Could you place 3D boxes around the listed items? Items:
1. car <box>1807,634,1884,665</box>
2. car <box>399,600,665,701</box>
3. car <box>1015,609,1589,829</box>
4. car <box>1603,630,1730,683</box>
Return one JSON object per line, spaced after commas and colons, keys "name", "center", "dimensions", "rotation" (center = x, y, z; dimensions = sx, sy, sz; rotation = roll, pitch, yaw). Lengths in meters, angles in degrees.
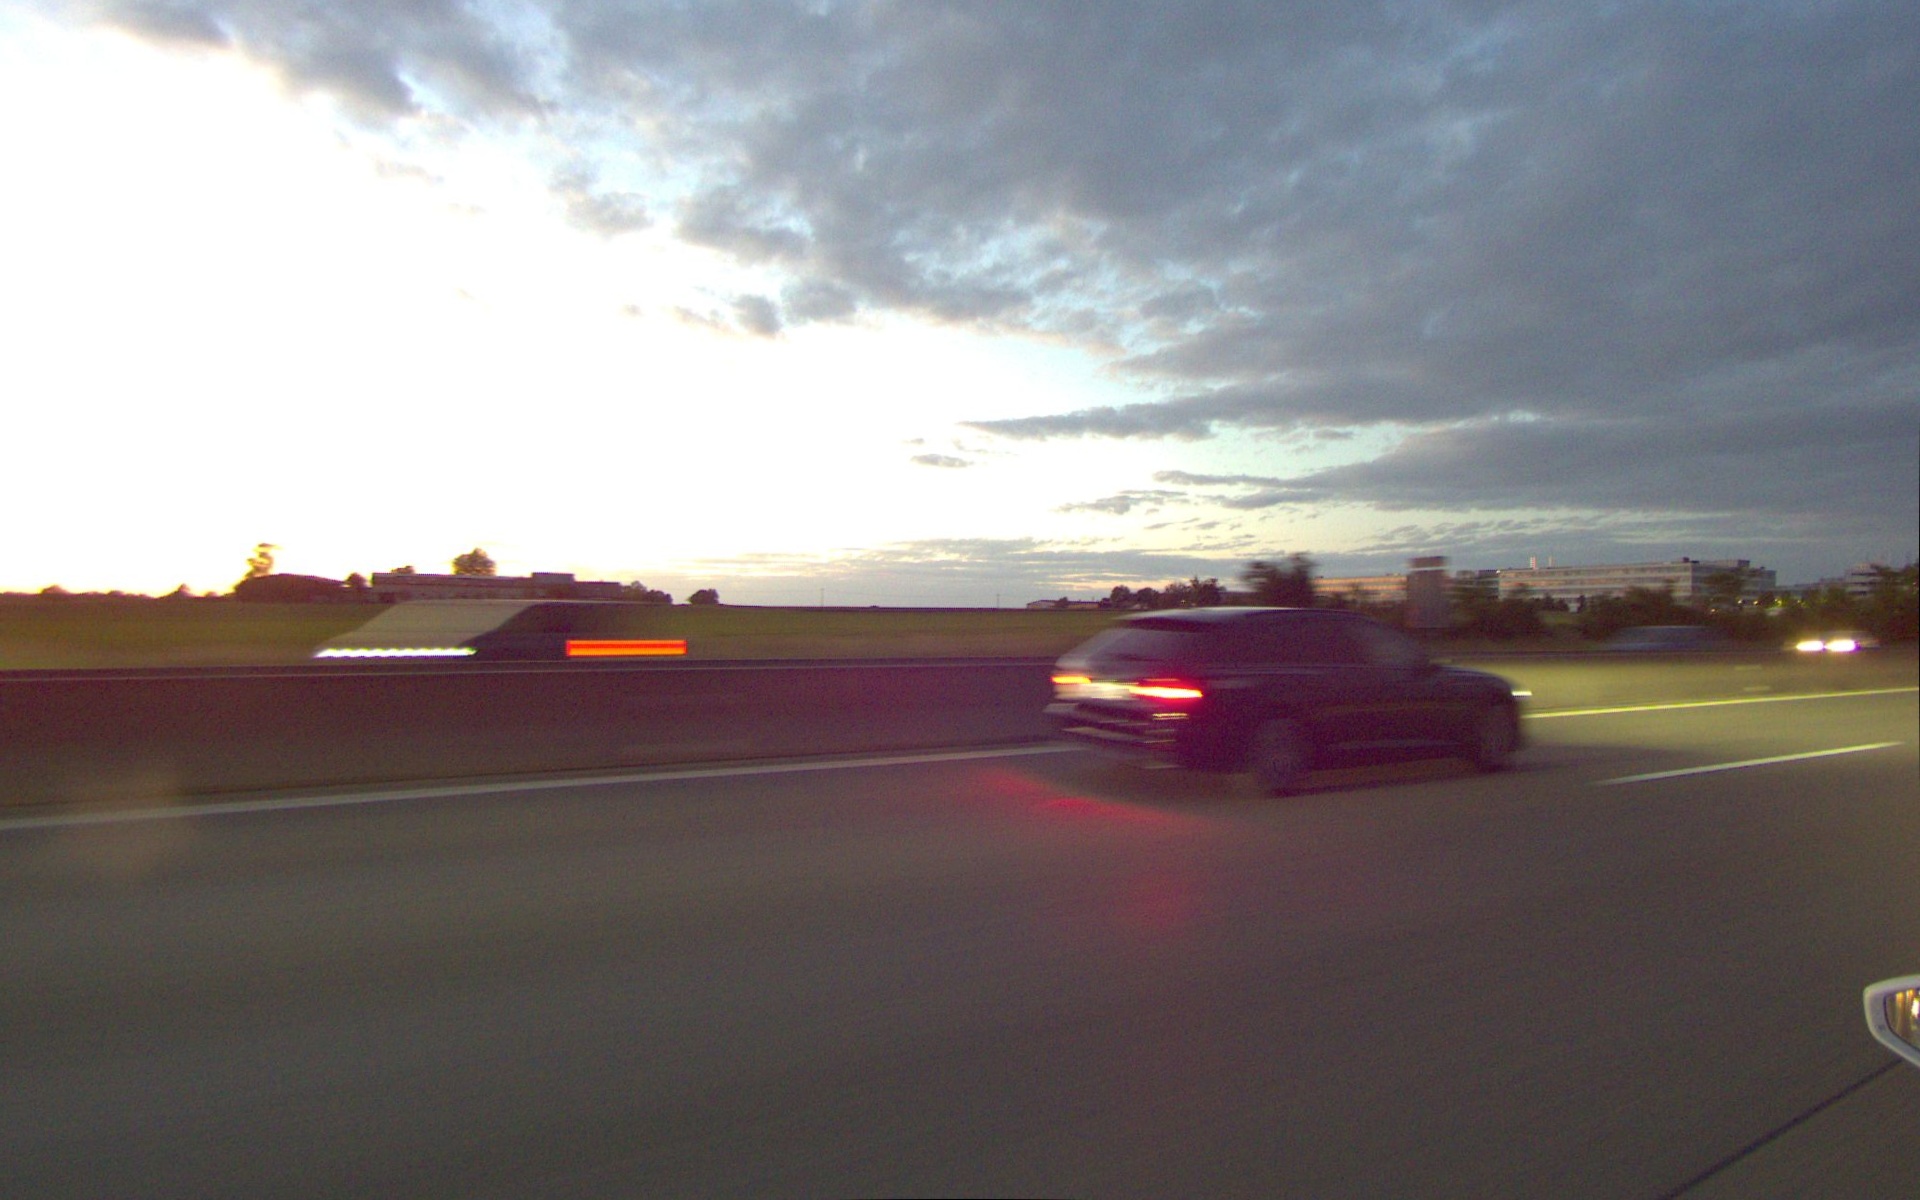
{"name": "car", "center": [47.375, 2.653, 53.723], "dimensions": [4.468, 1.556, 1.735], "rotation": [2, 0, -30]}
{"name": "car", "center": [-8.924, 1.029, 21.056], "dimensions": [4.900, 1.871, 1.984], "rotation": [2, 0, -30]}
{"name": "car", "center": [3.212, 0.862, 8.952], "dimensions": [5.332, 1.456, 1.805], "rotation": [1, 0, -31]}
{"name": "car", "center": [20.829, 1.651, 29.580], "dimensions": [3.856, 1.405, 1.596], "rotation": [2, 0, -30]}
